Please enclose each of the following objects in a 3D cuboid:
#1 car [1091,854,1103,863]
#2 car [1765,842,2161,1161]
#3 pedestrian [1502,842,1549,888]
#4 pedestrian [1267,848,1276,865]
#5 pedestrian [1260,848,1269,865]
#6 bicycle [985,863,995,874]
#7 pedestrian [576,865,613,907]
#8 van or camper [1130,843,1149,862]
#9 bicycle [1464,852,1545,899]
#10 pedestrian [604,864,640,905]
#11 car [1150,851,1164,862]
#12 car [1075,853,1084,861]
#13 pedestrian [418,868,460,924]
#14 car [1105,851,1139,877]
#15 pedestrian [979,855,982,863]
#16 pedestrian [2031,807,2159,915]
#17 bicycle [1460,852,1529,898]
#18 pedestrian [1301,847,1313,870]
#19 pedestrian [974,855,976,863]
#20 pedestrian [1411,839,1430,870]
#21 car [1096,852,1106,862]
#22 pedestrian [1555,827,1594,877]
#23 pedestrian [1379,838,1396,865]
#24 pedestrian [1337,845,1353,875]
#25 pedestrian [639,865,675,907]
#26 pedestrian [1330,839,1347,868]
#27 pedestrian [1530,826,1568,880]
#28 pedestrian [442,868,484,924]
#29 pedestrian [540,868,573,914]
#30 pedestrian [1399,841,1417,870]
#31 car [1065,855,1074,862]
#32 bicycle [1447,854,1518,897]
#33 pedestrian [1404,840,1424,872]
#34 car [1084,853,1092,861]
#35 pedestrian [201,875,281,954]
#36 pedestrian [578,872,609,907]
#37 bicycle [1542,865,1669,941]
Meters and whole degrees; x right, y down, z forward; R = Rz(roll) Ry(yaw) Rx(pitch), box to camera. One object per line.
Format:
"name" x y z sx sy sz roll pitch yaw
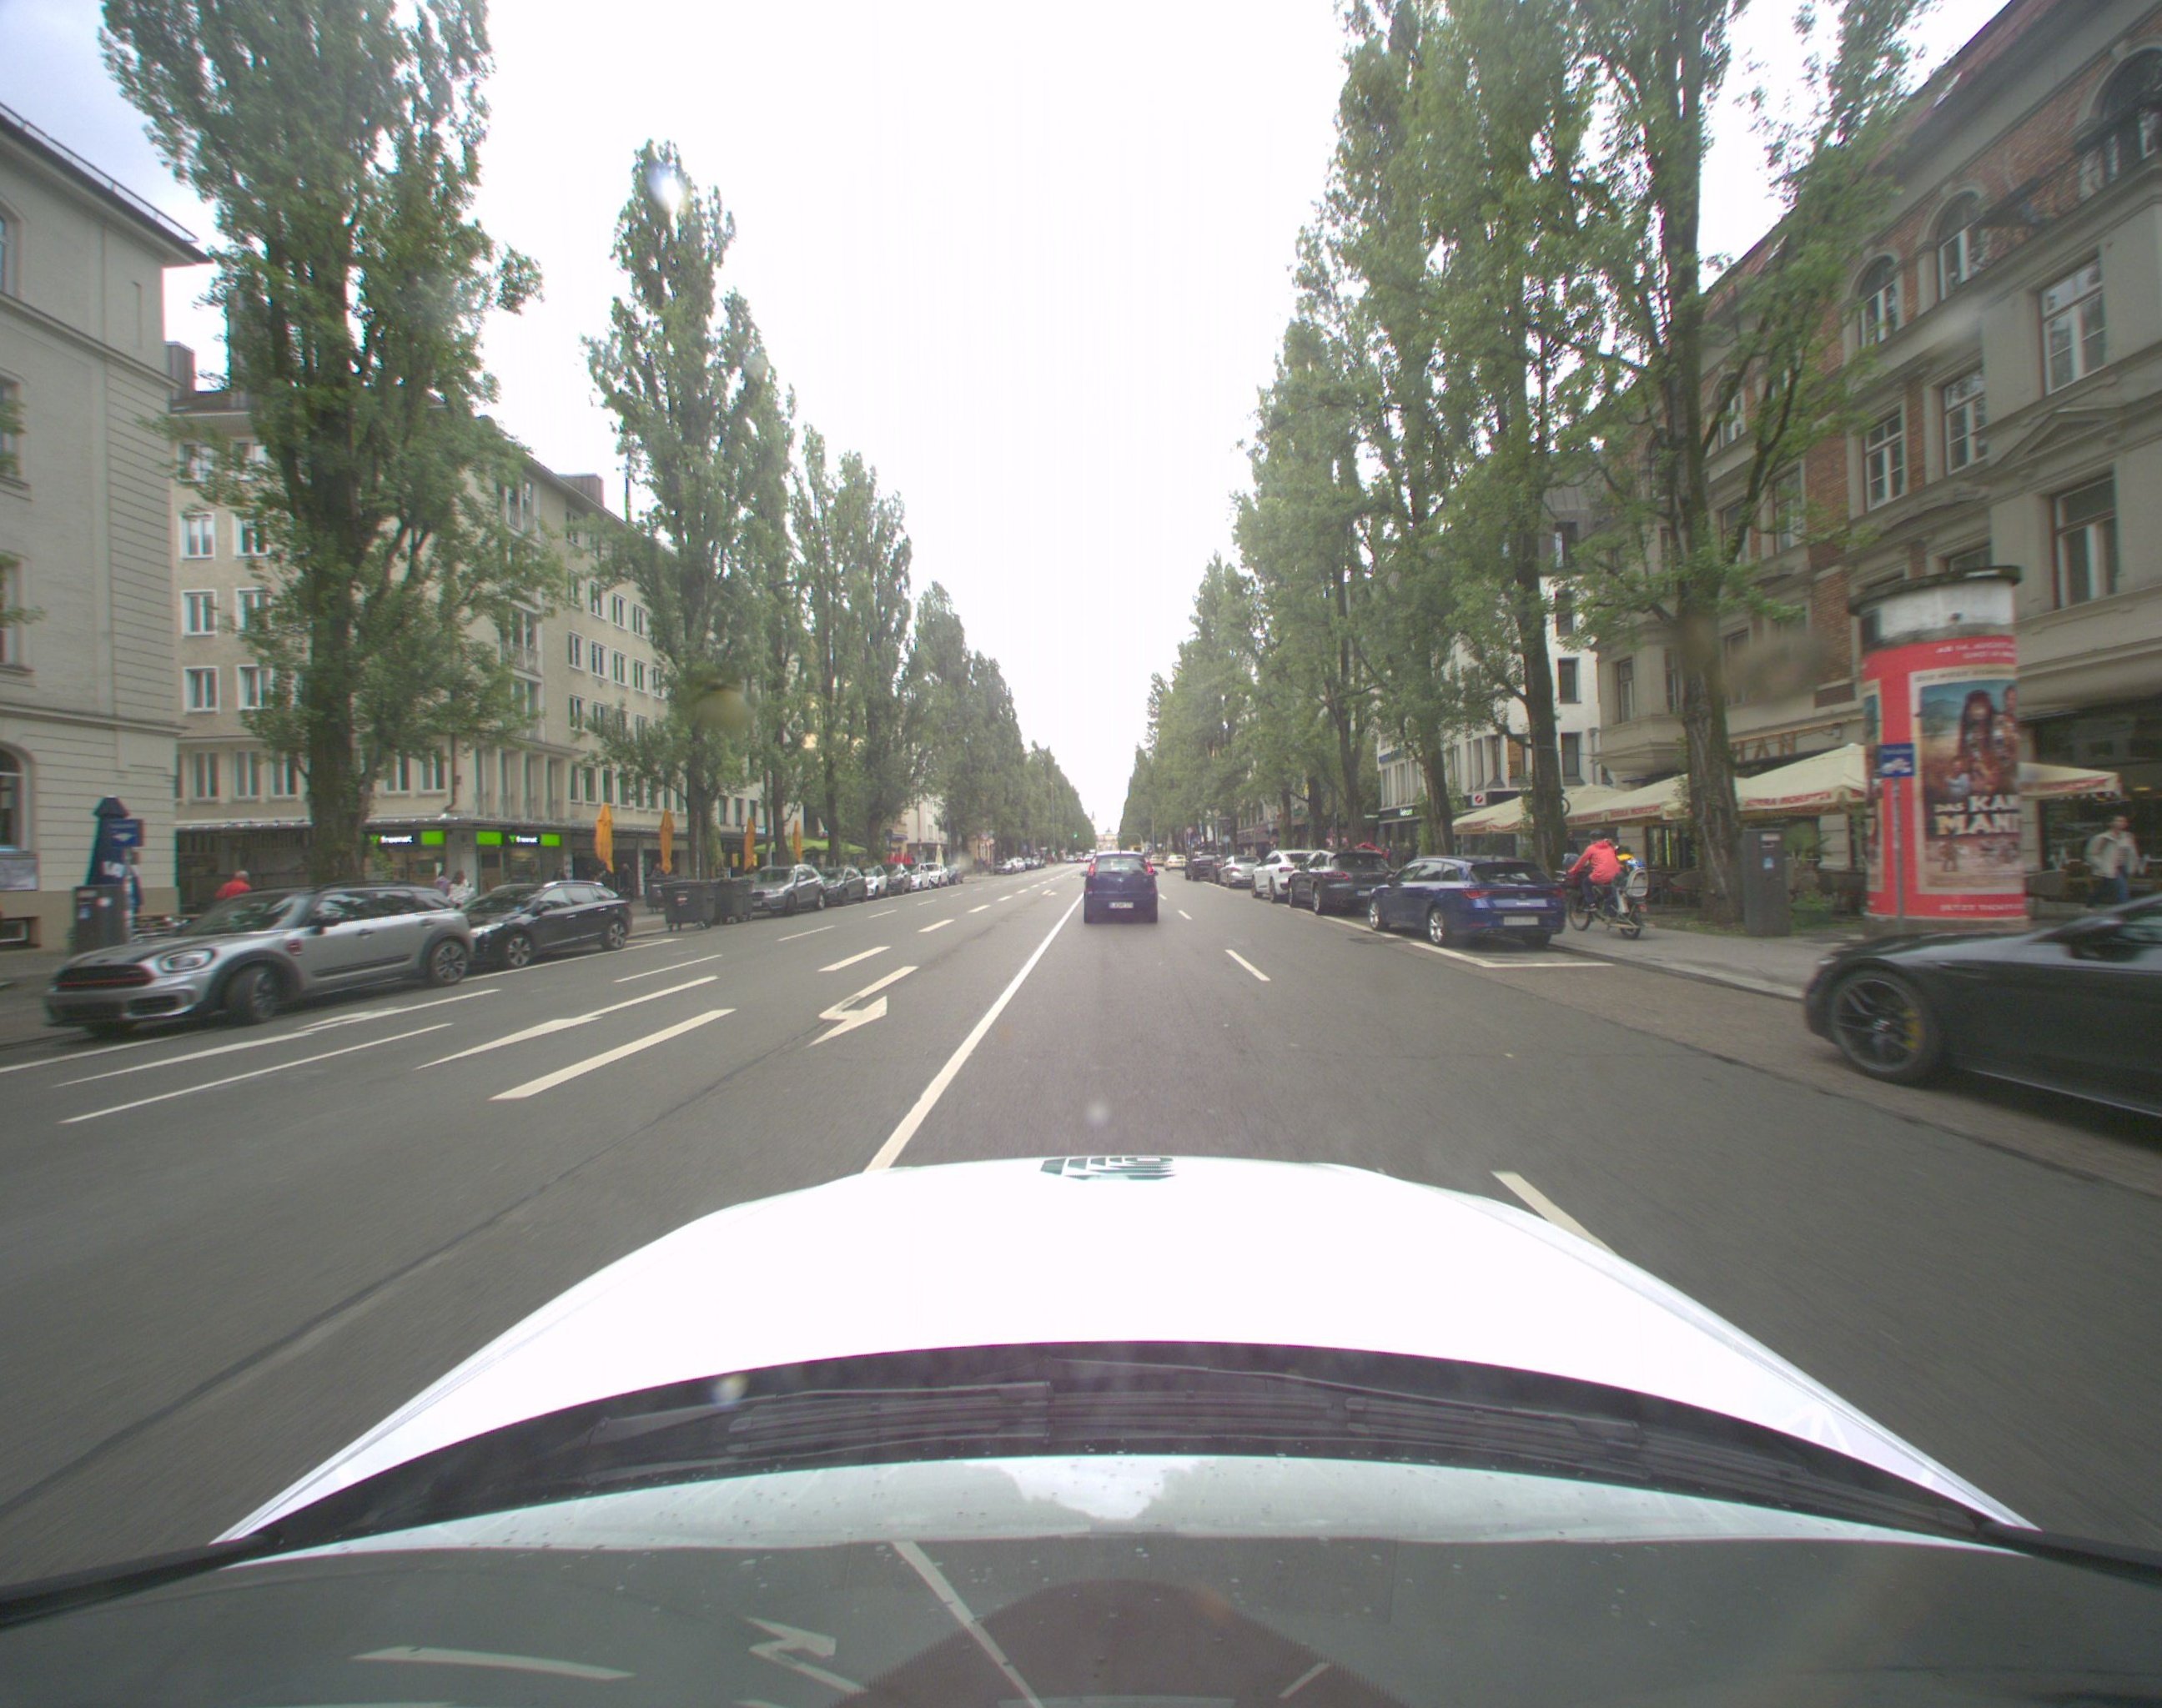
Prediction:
"car" 2.769 0.822 141.064 1.955 1.399 3.780 -2 0 1
"car" 5.940 0.677 3.568 1.872 1.432 4.805 -2 0 1
"pedestrian" 12.931 0.312 23.710 0.925 1.267 0.731 -2 0 0
"pedestrian" 18.223 0.244 77.914 0.638 1.526 0.484 -2 0 2
"pedestrian" 16.720 0.239 74.089 0.638 1.526 0.484 -2 0 2
"bicycle" -8.499 1.326 76.366 0.664 1.006 2.460 -2 0 -1
"pedestrian" -21.095 1.386 35.316 0.848 1.744 1.149 -1 0 2
"van or camper" 8.447 -0.162 118.752 2.467 2.581 5.847 -2 0 2
"bicycle" 11.423 0.577 21.984 1.865 1.192 0.575 -2 0 -3
"pedestrian" -20.167 1.331 35.789 0.848 1.744 1.149 -2 0 2
"car" 10.059 0.279 107.835 1.663 1.352 4.106 -2 0 2
"car" -0.316 0.671 194.376 1.828 1.739 3.780 -2 0 1
"pedestrian" -20.289 1.319 25.750 0.623 1.721 0.827 -2 0 1
"car" 2.585 0.620 51.693 1.986 1.497 4.001 -2 0 1
"pedestrian" -14.436 0.690 117.322 0.287 1.090 0.259 -2 0 7
"pedestrian" 15.882 0.105 12.785 0.726 1.609 0.991 -2 0 2
"bicycle" 11.423 0.581 22.506 1.707 1.192 0.420 -2 0 -3
"pedestrian" 17.328 0.329 62.506 0.651 1.751 0.860 -1 -1 2
"pedestrian" -15.257 0.744 117.339 0.287 1.090 0.259 -2 0 7
"pedestrian" 18.182 0.047 43.669 0.652 1.626 0.704 -2 0 -1
"car" 3.671 0.567 151.744 1.828 1.761 3.780 -2 0 1
"pedestrian" 17.007 -0.063 28.068 0.726 1.677 0.932 -2 0 2
"pedestrian" 18.685 -0.125 49.706 0.733 1.626 0.765 -1 -1 -2
"pedestrian" 14.464 0.336 44.597 0.651 1.601 0.705 -1 -1 2
"pedestrian" -18.124 1.355 34.841 0.848 1.744 1.149 -2 0 2
"pedestrian" 16.644 -0.040 52.637 0.790 1.812 0.682 -2 0 0
"pedestrian" 16.136 -0.019 28.089 0.726 1.802 0.932 -2 0 2
"pedestrian" -19.621 1.319 25.856 0.623 1.721 0.827 -2 0 1
"pedestrian" -19.981 1.397 31.033 0.623 1.721 0.827 -2 0 1
"pedestrian" 18.643 0.073 46.408 0.652 1.626 0.704 -2 0 -1
"car" -2.841 1.132 201.787 1.955 1.549 3.780 -2 0 1
"bicycle" 11.301 0.603 22.950 1.826 1.139 0.370 -2 0 -4
"pedestrian" 17.395 0.090 42.555 0.652 1.626 0.704 -2 0 -1
"car" 1.589 0.596 185.200 1.828 1.677 3.780 -2 0 1
"pedestrian" -18.417 1.301 17.877 0.731 1.673 0.953 -1 -1 2
"pedestrian" -19.050 1.389 31.843 0.623 1.325 0.827 -2 0 1
"bicycle" 8.520 0.744 13.358 0.624 1.086 2.264 -2 0 1
